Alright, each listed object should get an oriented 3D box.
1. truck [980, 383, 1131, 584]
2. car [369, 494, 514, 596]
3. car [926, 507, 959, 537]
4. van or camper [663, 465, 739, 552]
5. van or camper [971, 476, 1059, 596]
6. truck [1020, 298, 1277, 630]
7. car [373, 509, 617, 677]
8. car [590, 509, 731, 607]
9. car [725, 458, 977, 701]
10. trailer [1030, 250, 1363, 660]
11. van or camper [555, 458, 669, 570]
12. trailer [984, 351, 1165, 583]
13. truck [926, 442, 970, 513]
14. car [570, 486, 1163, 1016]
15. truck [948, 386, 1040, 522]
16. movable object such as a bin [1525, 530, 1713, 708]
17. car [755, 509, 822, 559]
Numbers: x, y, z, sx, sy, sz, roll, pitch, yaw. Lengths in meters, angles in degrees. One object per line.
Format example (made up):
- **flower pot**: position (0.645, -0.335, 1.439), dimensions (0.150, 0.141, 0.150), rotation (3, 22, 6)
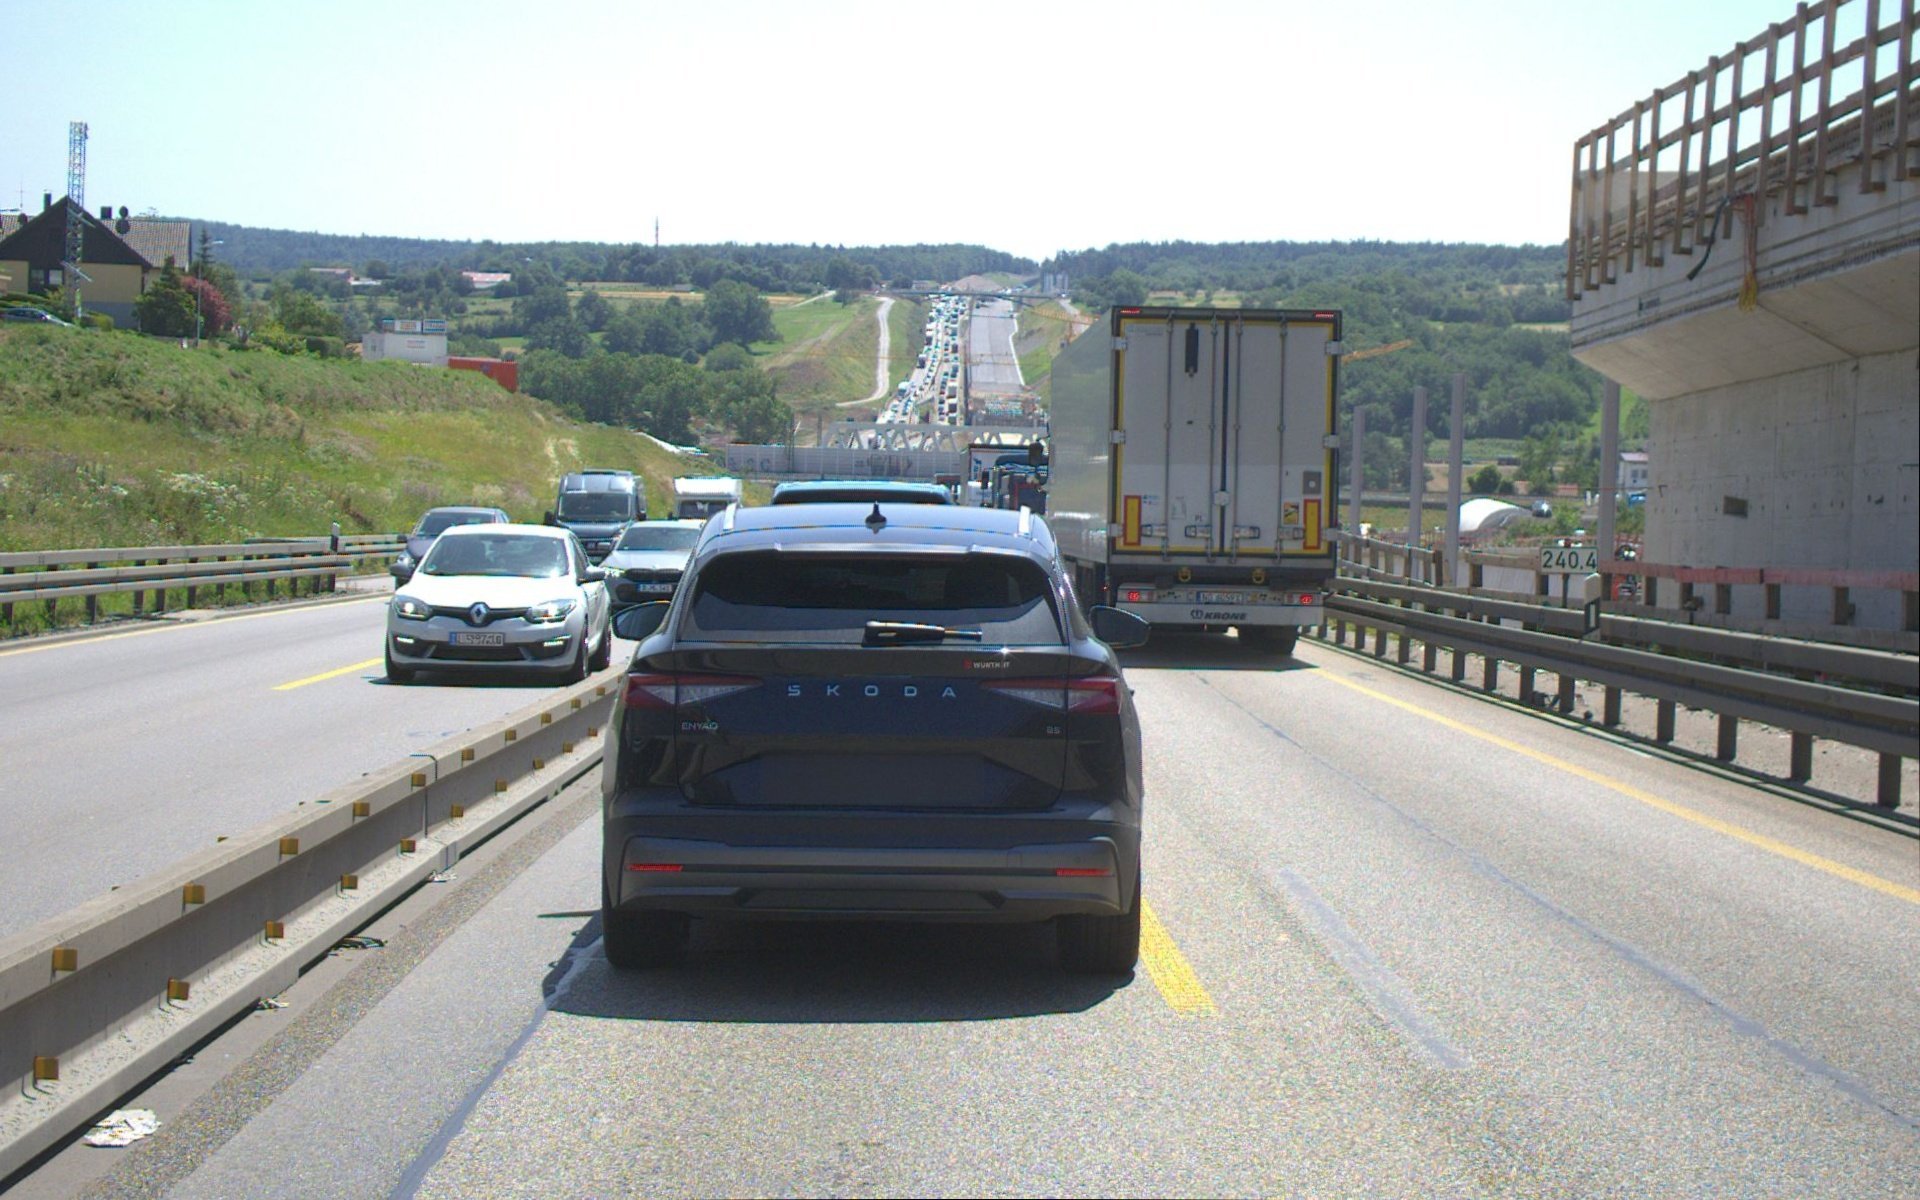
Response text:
- **truck**: position (2.194, -2.678, 82.254), dimensions (3.180, 4.497, 8.166), rotation (1, 0, -1)
- **car**: position (-8.598, -0.929, 57.352), dimensions (1.773, 1.576, 4.286), rotation (2, 1, -1)
- **car**: position (-0.962, -4.283, 189.240), dimensions (1.813, 1.596, 4.573), rotation (1, 1, 0)
- **van or camper**: position (-9.492, -3.363, 126.589), dimensions (2.291, 3.056, 6.924), rotation (1, 1, -1)
- **van or camper**: position (1.608, -1.788, 98.399), dimensions (2.389, 3.269, 6.469), rotation (1, 0, 1)
- **truck**: position (2.662, -1.995, 51.329), dimensions (3.180, 4.497, 8.167), rotation (1, 2, -1)
- **car**: position (-4.339, -0.102, 32.573), dimensions (1.802, 1.459, 4.000), rotation (1, 1, -1)
- **car**: position (-4.585, -0.673, 53.201), dimensions (1.829, 1.428, 4.630), rotation (1, 1, -1)
- **car**: position (-0.919, -0.183, 30.018), dimensions (1.993, 1.919, 4.508), rotation (1, 0, -1)
- **trailer**: position (2.768, -1.820, 44.828), dimensions (3.180, 4.497, 13.110), rotation (1, 2, -1)
- **van or camper**: position (-8.418, -2.088, 83.779), dimensions (2.140, 2.564, 6.565), rotation (2, 1, -1)
- **trailer**: position (2.300, -2.667, 75.161), dimensions (3.180, 4.497, 14.967), rotation (1, 0, -1)
- **truck**: position (-0.797, -7.691, 217.960), dimensions (2.640, 4.179, 9.284), rotation (1, 0, -1)
- **car**: position (-0.291, 0.433, 12.623), dimensions (1.802, 1.602, 4.000), rotation (1, 1, 0)
- **truck**: position (1.159, -5.167, 124.727), dimensions (2.852, 4.450, 11.918), rotation (1, 0, -1)
- **movable object such as a bin**: position (18.615, 0.481, 97.791), dimensions (3.227, 4.726, 9.656), rotation (1, 0, -1)
- **car**: position (-5.261, -2.045, 105.956), dimensions (1.842, 1.470, 4.835), rotation (1, 1, -1)
